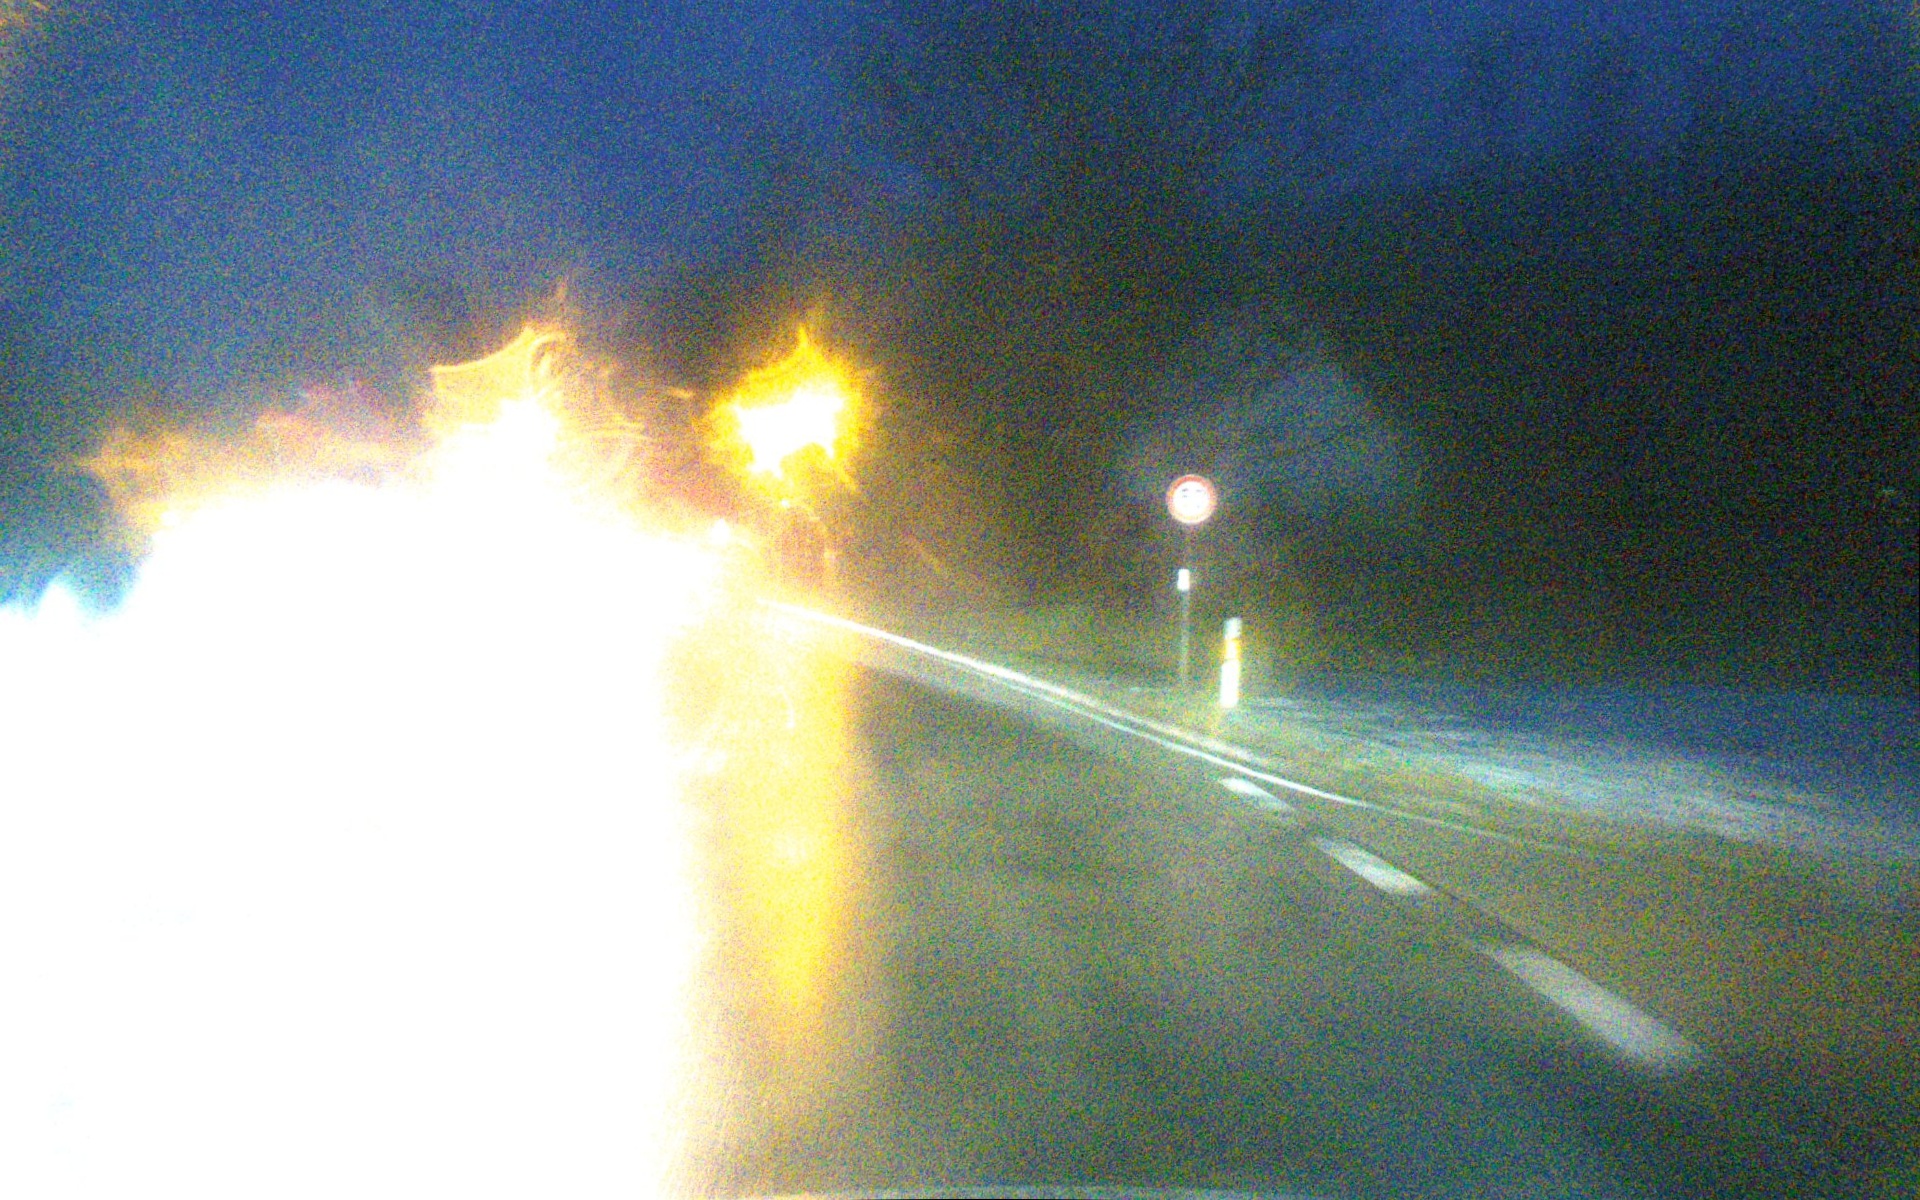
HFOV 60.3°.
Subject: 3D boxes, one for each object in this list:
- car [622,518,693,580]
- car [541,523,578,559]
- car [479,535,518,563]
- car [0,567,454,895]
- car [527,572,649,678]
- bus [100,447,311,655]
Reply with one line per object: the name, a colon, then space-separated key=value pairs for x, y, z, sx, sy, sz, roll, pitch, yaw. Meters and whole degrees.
car: x=-13.451 y=-2.297 z=73.259 sx=2.498 sy=2.540 sz=5.690 roll=-1 pitch=4 yaw=-17
car: x=-24.486 y=-3.572 z=101.122 sx=1.962 sy=2.049 sz=3.981 roll=1 pitch=0 yaw=-17
car: x=-26.351 y=-2.902 z=94.385 sx=1.613 sy=1.537 sz=4.088 roll=-2 pitch=2 yaw=-23
car: x=-4.259 y=0.579 z=9.606 sx=1.678 sy=1.501 sz=3.866 roll=1 pitch=1 yaw=-4
car: x=-6.203 y=0.366 z=27.902 sx=1.664 sy=1.627 sz=3.795 roll=0 pitch=1 yaw=-8
bus: x=-17.487 y=-1.084 z=37.665 sx=2.864 sy=3.936 sz=12.920 roll=0 pitch=1 yaw=-31
